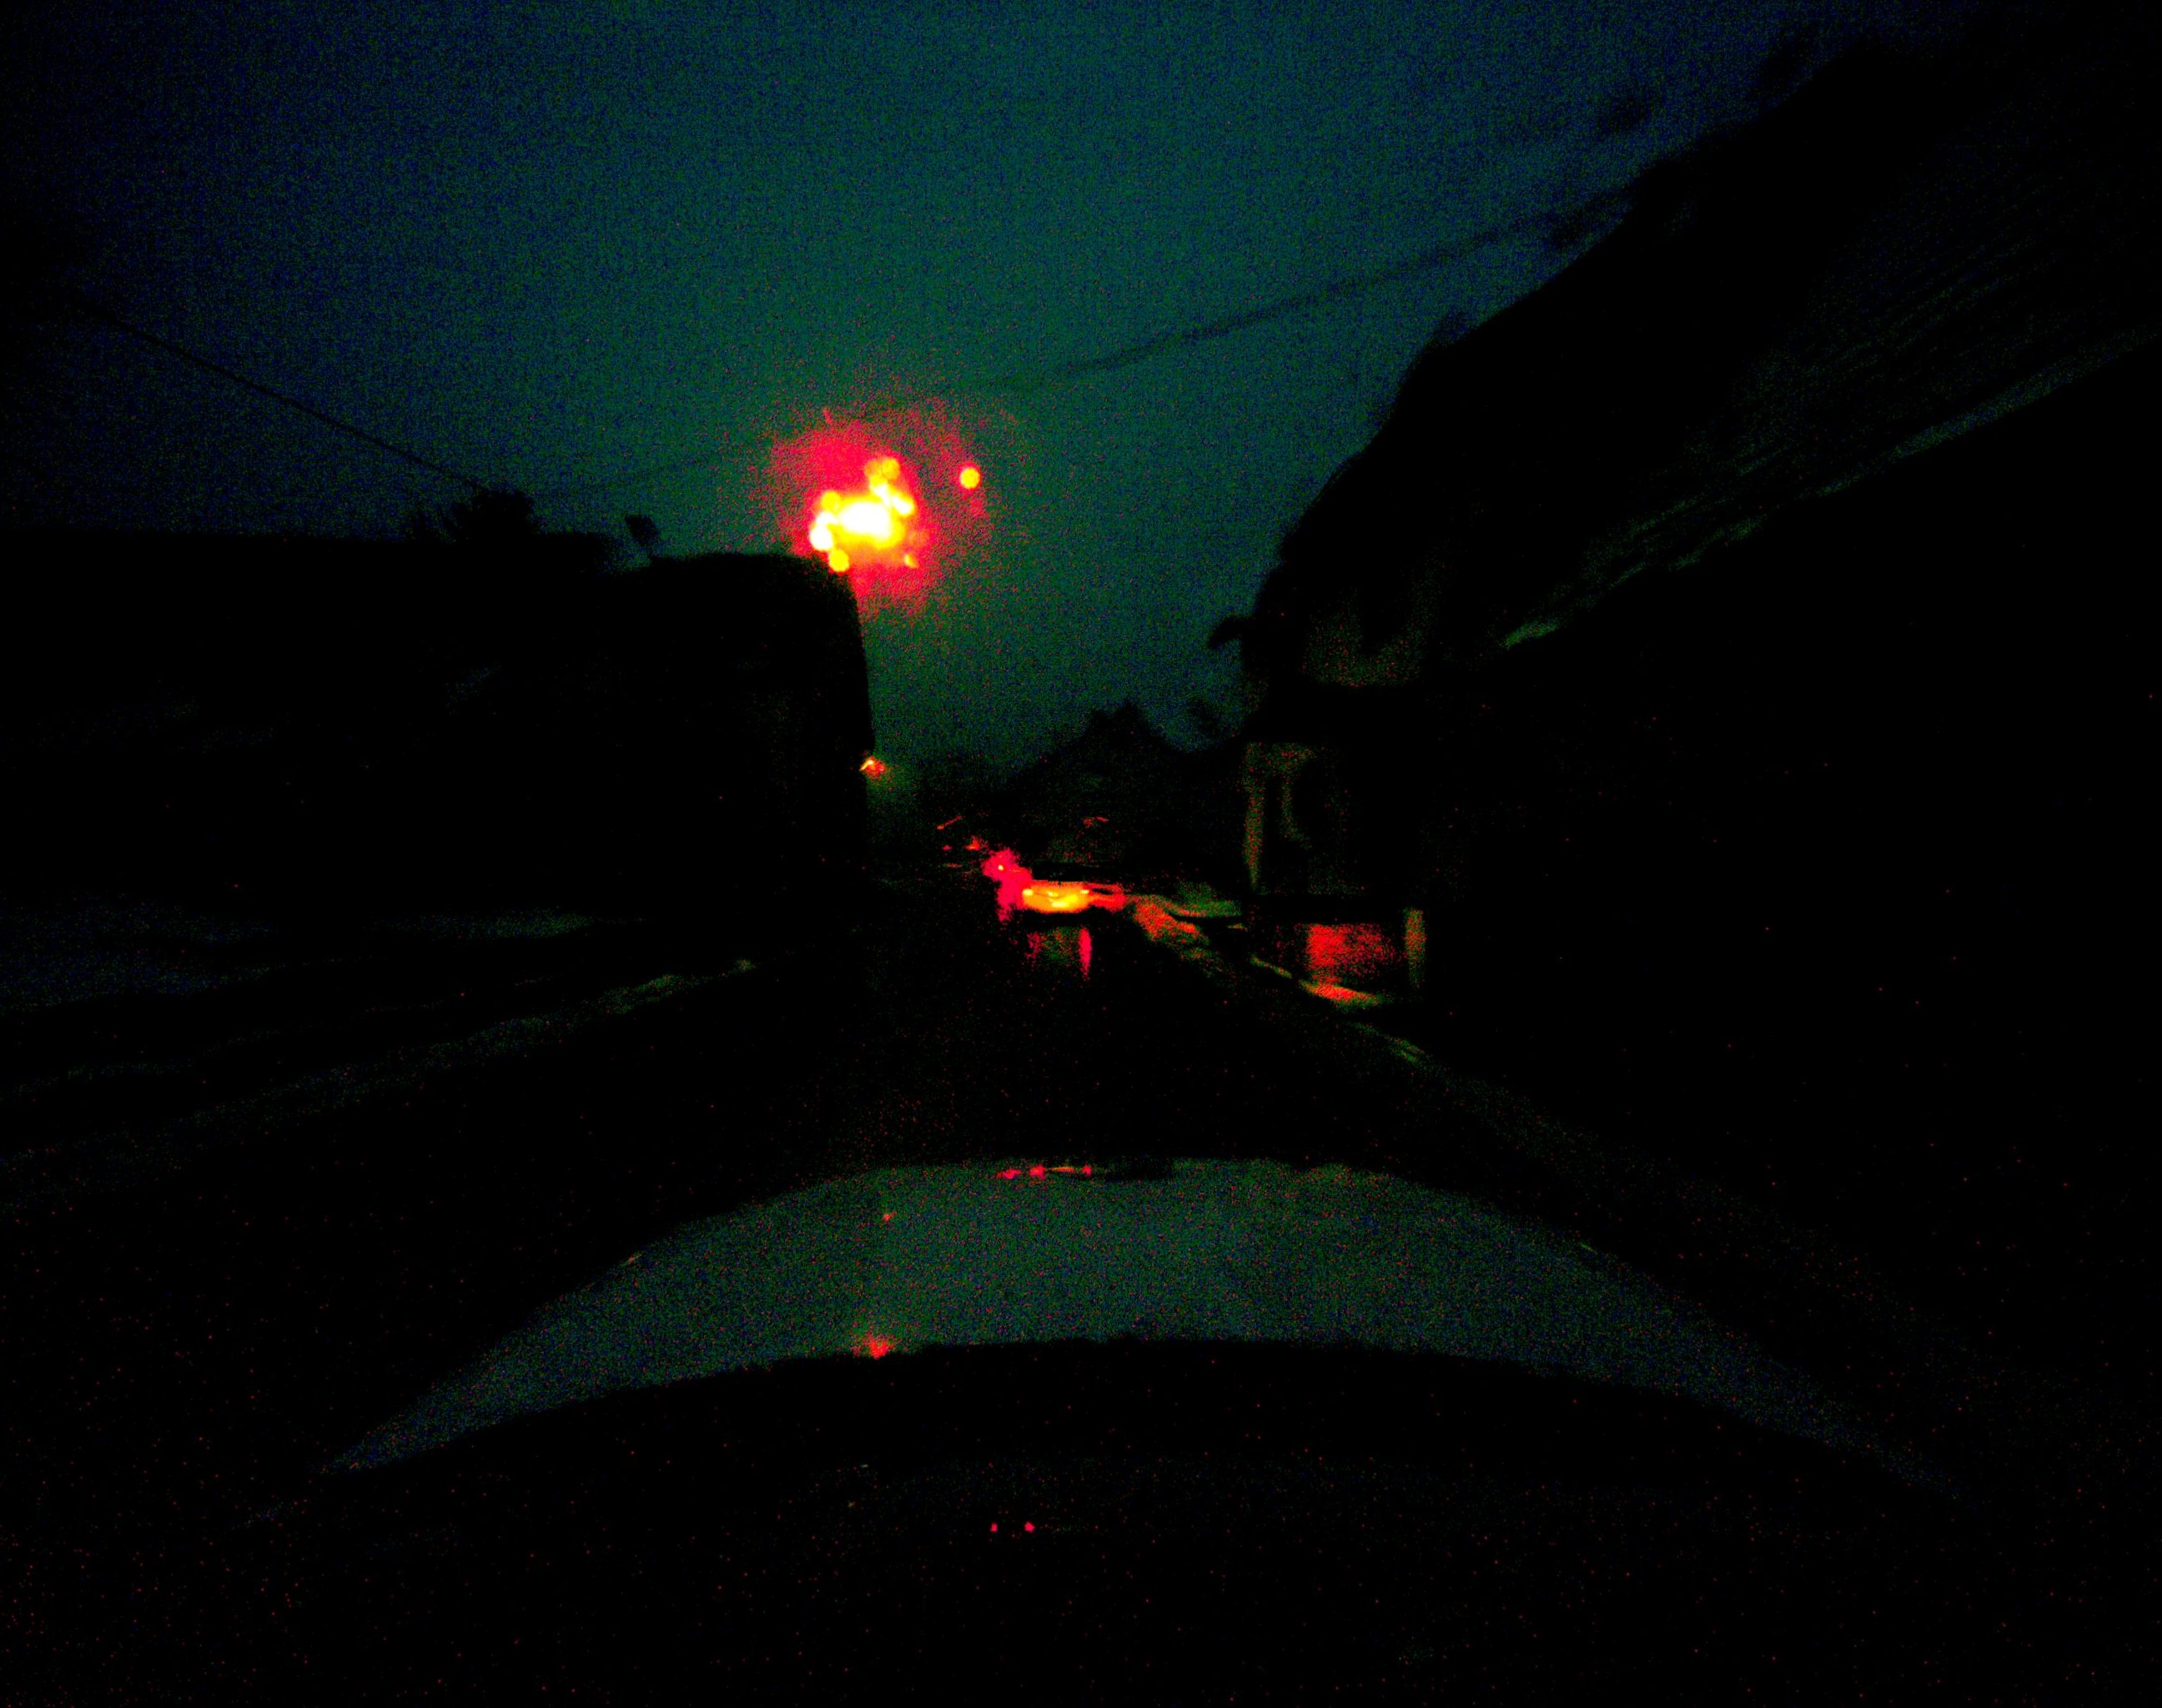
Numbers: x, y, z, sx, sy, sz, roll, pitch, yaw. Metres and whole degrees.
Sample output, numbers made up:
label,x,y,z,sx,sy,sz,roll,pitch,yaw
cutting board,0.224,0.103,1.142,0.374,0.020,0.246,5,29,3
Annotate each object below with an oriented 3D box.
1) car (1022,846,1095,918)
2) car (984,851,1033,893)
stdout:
label,x,y,z,sx,sy,sz,roll,pitch,yaw
car,-0.505,0.684,20.016,1.640,1.596,3.698,0,-2,0
car,-3.025,0.746,33.422,1.646,1.596,3.685,0,-2,-11
